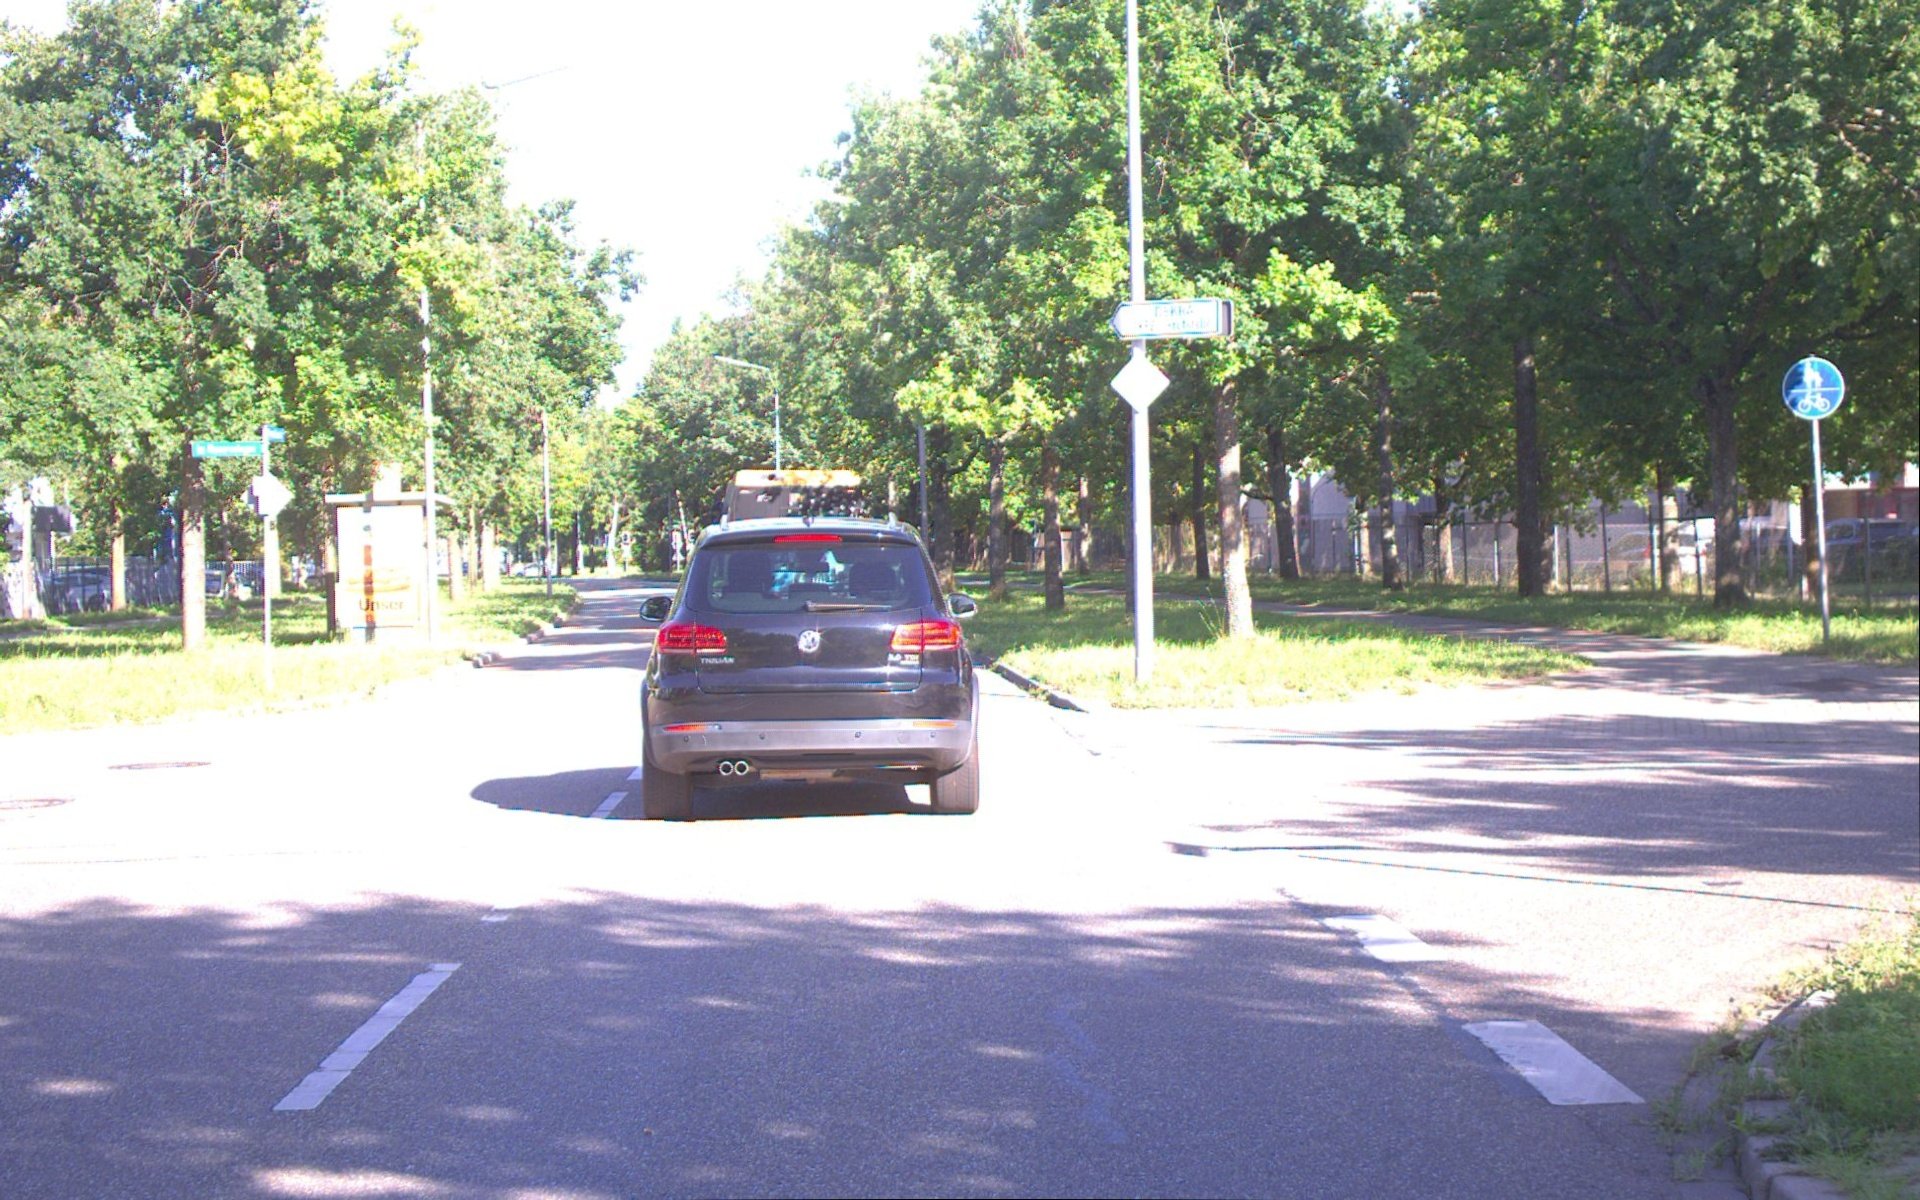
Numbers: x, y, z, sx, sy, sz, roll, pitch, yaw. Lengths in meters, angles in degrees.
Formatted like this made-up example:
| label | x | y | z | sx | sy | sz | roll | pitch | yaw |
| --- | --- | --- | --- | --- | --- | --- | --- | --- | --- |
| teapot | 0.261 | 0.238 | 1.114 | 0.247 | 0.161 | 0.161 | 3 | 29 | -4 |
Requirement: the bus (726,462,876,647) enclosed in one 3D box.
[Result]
| label | x | y | z | sx | sy | sz | roll | pitch | yaw |
| --- | --- | --- | --- | --- | --- | --- | --- | --- | --- |
| bus | -3.358 | -0.967 | 70.887 | 2.764 | 3.444 | 11.212 | -1 | 1 | -3 |

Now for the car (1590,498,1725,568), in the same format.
| label | x | y | z | sx | sy | sz | roll | pitch | yaw |
| --- | --- | --- | --- | --- | --- | --- | --- | --- | --- |
| car | 18.289 | -1.762 | 90.391 | 2.184 | 1.738 | 4.642 | -2 | 1 | -5 |

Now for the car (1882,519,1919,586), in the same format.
| label | x | y | z | sx | sy | sz | roll | pitch | yaw |
| --- | --- | --- | --- | --- | --- | --- | --- | --- | --- |
| car | 26.269 | -1.280 | 90.790 | 2.184 | 1.738 | 4.642 | -2 | 1 | -5 |

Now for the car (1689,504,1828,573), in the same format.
| label | x | y | z | sx | sy | sz | roll | pitch | yaw |
| --- | --- | --- | --- | --- | --- | --- | --- | --- | --- |
| car | 20.993 | -1.625 | 90.550 | 2.184 | 1.738 | 4.642 | -2 | 1 | -5 |

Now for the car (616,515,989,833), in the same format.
| label | x | y | z | sx | sy | sz | roll | pitch | yaw |
| --- | --- | --- | --- | --- | --- | --- | --- | --- | --- |
| car | -0.837 | 0.333 | 20.072 | 1.936 | 1.650 | 4.427 | 0 | 1 | 0 |

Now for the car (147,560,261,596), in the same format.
| label | x | y | z | sx | sy | sz | roll | pitch | yaw |
| --- | --- | --- | --- | --- | --- | --- | --- | --- | --- |
| car | -30.846 | -0.905 | 140.281 | 4.198 | 1.317 | 1.941 | -1 | 1 | -1 |
